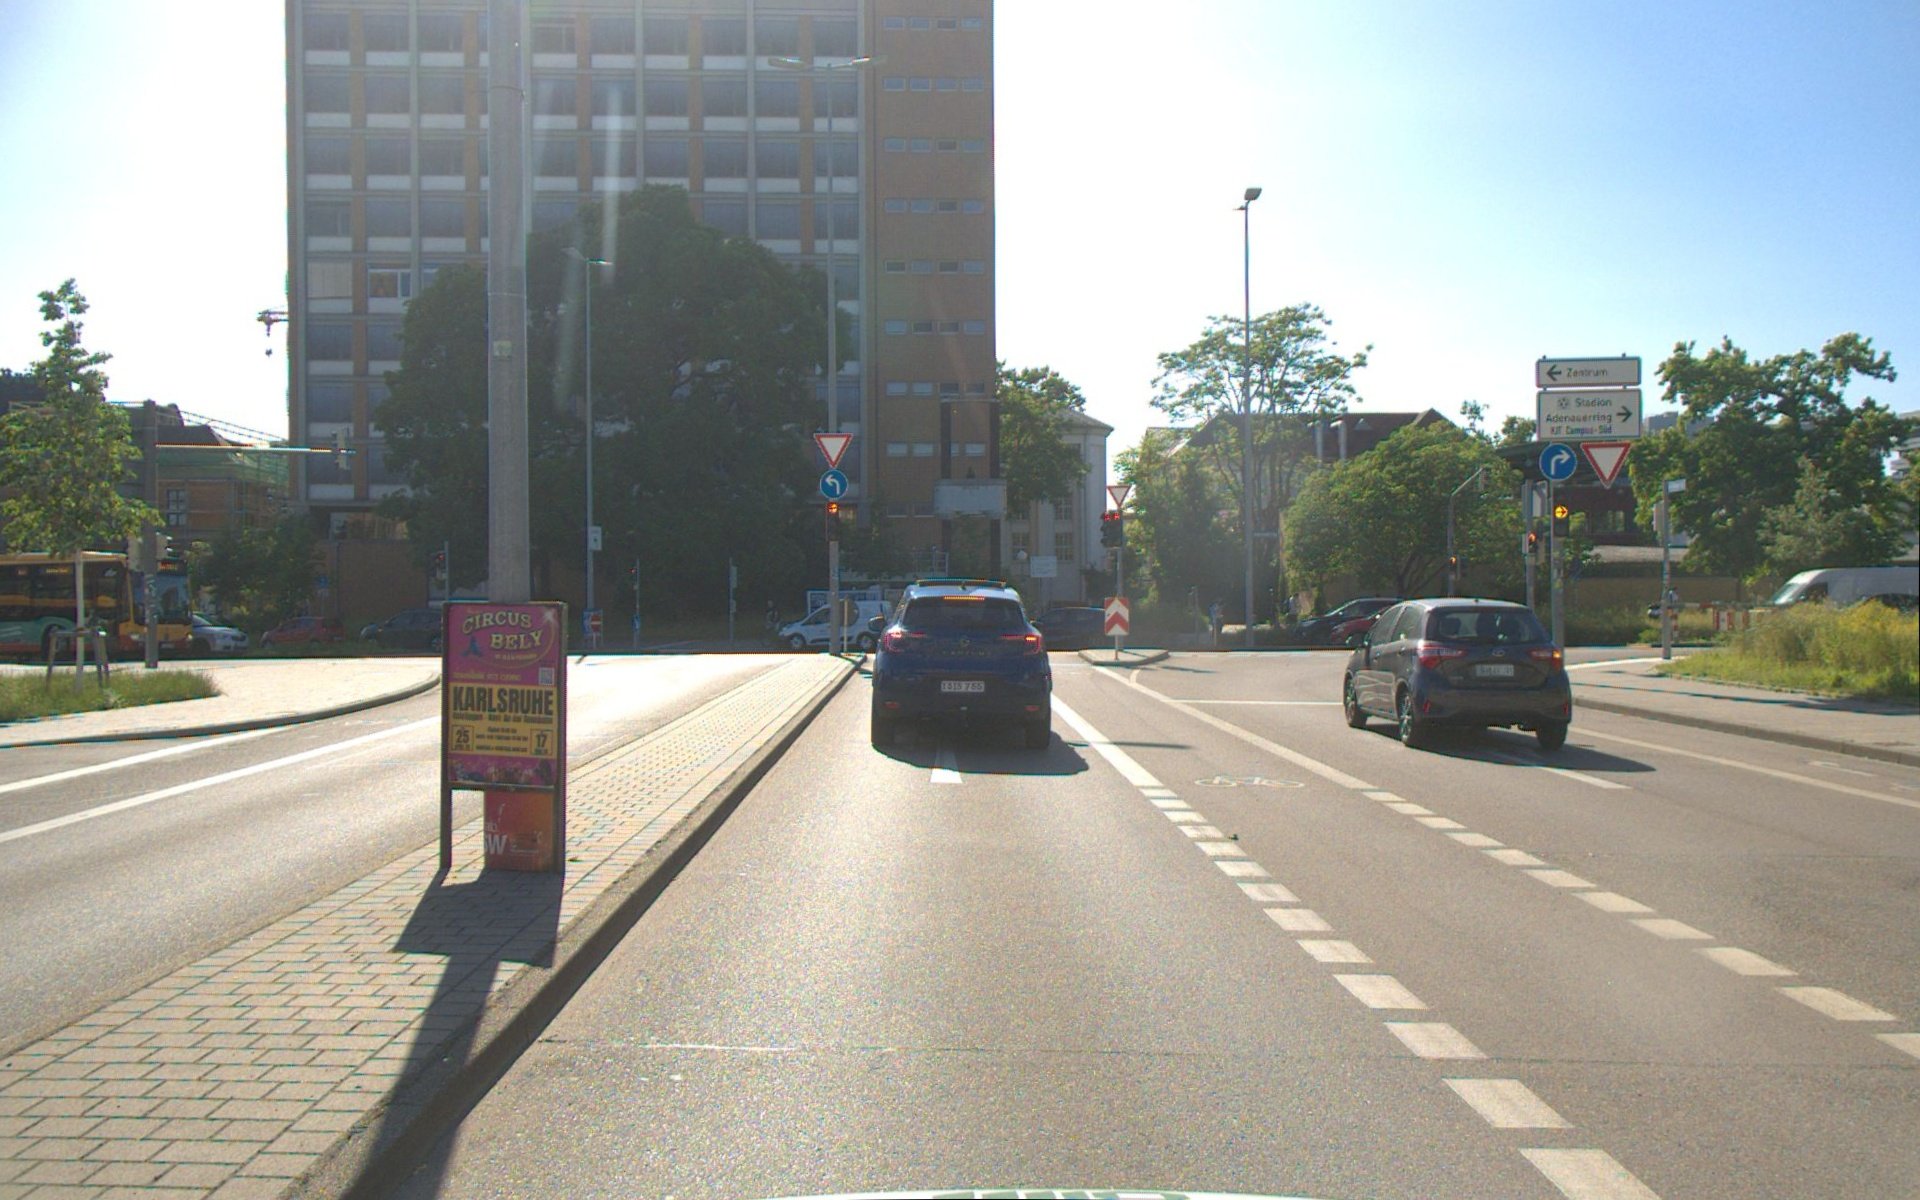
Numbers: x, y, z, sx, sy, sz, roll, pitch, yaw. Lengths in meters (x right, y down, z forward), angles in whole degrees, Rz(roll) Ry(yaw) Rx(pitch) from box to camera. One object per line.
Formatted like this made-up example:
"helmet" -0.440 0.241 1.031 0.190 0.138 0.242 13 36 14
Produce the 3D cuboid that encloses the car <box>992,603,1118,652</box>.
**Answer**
"car" 3.206 0.944 55.438 4.027 1.614 1.881 0 -2 10

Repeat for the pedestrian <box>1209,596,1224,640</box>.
"pedestrian" 10.082 0.719 65.020 0.548 1.699 0.477 0 -2 14

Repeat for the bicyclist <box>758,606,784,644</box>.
"bicyclist" -7.455 0.968 65.262 0.810 1.469 0.612 0 0 -37

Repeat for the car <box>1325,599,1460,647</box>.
"car" 13.749 0.727 52.736 3.902 1.490 2.001 0 0 6

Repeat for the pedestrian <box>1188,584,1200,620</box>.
"pedestrian" 11.104 0.092 78.543 0.564 1.699 0.562 0 -2 9

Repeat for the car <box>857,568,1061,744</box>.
"car" -0.115 0.537 17.262 1.788 1.628 3.654 1 0 -5

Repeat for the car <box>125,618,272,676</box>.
"car" -27.820 1.720 60.477 4.551 2.049 2.001 0 -2 12

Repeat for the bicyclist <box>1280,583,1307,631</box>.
"bicyclist" 13.250 0.287 65.705 0.840 1.879 0.850 -1 -2 28

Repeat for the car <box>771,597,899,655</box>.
"car" -4.496 0.960 59.856 4.255 2.049 2.001 0 -2 8

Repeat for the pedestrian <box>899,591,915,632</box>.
"pedestrian" -2.165 0.479 68.068 0.548 1.699 0.477 0 -2 14

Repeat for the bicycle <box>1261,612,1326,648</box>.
"bicycle" 13.231 1.209 65.694 2.404 1.394 0.850 -1 -2 28

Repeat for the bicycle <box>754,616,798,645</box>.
"bicycle" -7.283 1.188 65.393 1.654 1.112 0.602 -1 0 -38

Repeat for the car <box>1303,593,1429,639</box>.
"car" 13.675 0.534 55.940 3.902 1.489 2.001 0 0 6

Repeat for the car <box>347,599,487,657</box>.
"car" -19.372 1.014 59.060 4.279 2.049 2.001 0 -2 8

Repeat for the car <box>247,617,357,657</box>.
"car" -26.788 1.517 67.345 3.812 1.614 1.881 0 -2 16

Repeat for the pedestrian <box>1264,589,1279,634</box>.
"pedestrian" 11.882 0.436 63.096 0.544 1.699 0.477 0 -2 14

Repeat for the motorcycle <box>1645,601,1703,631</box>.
"motorcycle" 27.428 0.621 63.601 2.006 1.156 0.670 -1 -2 21

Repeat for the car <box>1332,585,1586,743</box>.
"car" 5.400 0.667 18.353 1.720 1.569 3.658 0 -1 0

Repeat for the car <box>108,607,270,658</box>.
"car" -23.931 1.026 51.396 4.303 1.548 1.971 0 -2 16

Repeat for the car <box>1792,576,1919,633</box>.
"car" 29.383 0.129 52.621 4.750 1.777 2.075 0 0 4

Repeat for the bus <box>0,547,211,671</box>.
"bus" -28.374 0.325 49.325 12.144 3.456 2.884 0 -2 17

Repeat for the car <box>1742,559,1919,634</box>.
"car" 30.468 -0.126 55.942 7.003 2.465 2.075 0 0 4
